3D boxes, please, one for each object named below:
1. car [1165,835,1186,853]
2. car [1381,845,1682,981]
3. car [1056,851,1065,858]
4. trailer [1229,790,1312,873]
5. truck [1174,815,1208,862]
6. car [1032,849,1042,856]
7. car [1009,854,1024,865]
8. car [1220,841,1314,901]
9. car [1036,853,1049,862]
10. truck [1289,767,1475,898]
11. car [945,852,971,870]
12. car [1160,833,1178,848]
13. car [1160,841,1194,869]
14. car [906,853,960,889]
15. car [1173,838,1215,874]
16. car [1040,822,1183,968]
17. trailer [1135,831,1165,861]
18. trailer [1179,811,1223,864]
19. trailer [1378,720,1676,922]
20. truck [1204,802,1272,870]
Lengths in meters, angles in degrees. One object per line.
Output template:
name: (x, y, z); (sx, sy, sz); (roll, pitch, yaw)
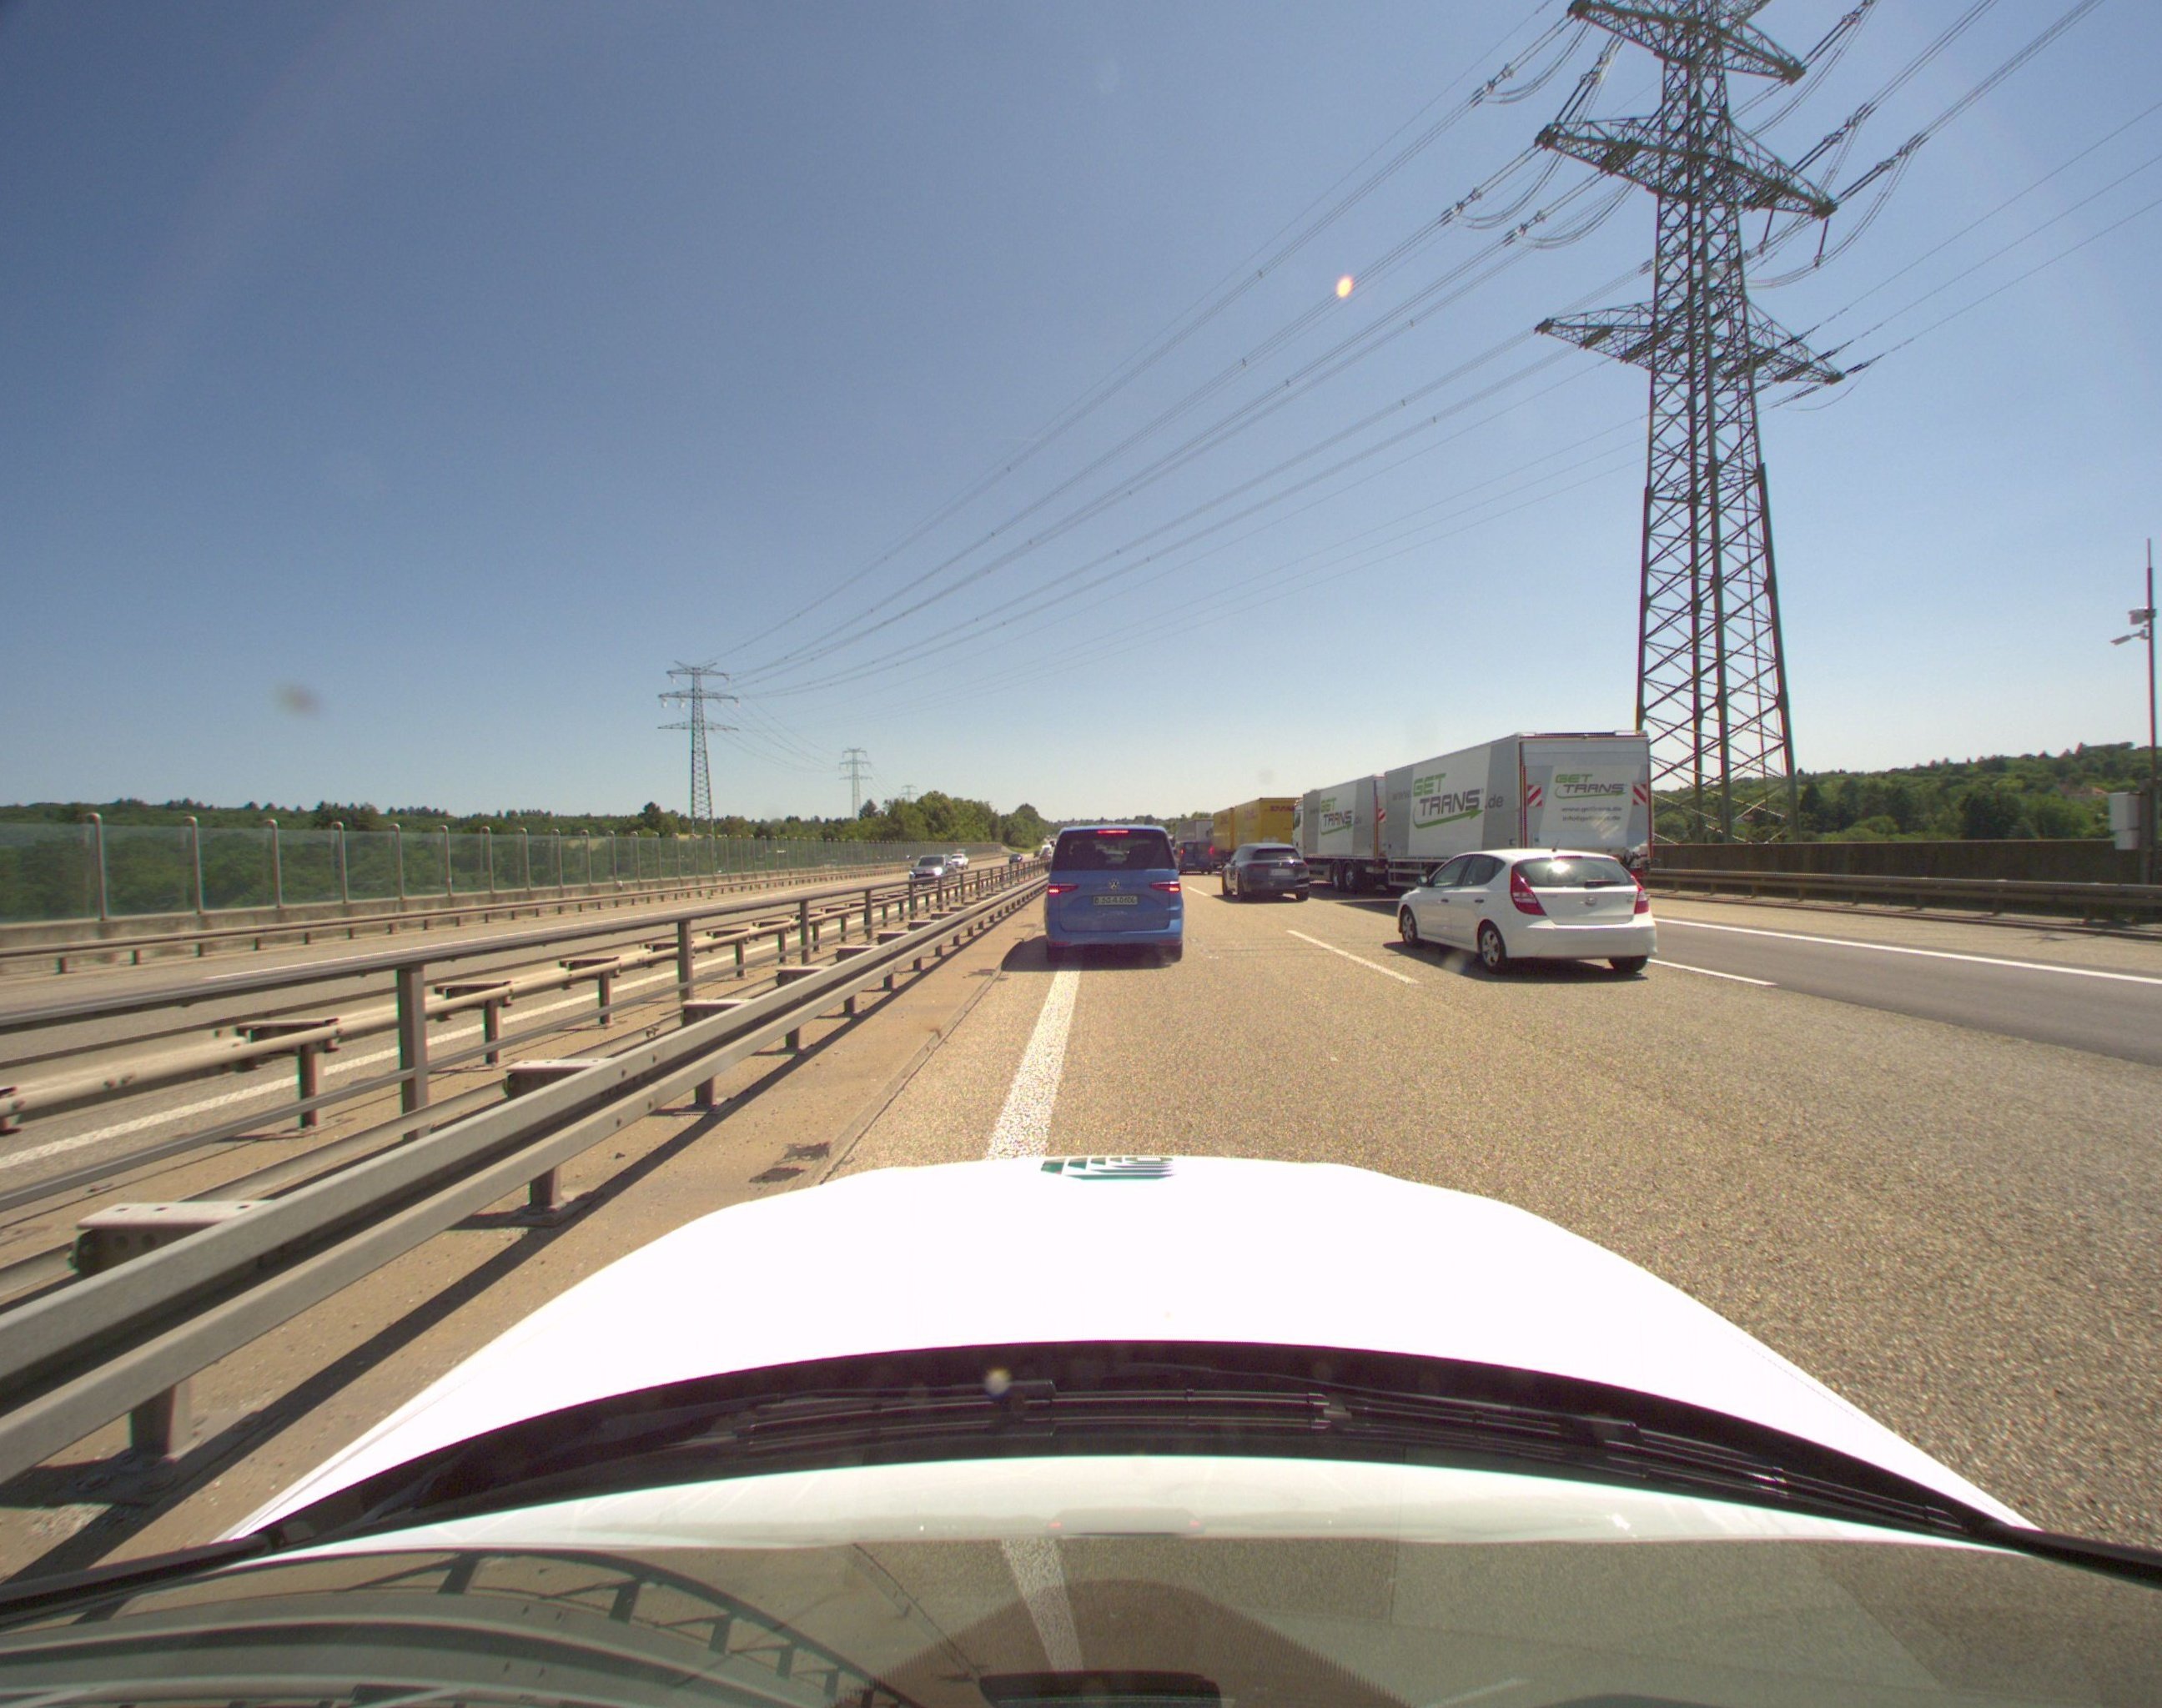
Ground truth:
car: (10.754, -1.135, 92.653); (1.986, 2.013, 4.001); (0, 0, 2)
car: (5.722, 0.633, 11.062); (1.782, 1.455, 4.294); (-1, 0, 1)
car: (-4.786, 0.141, 189.256); (1.784, 1.478, 3.990); (-2, 0, 2)
trailer: (10.545, -1.150, 46.377); (2.854, 4.239, 9.014); (0, 0, 1)
truck: (11.054, -1.507, 82.094); (2.657, 4.484, 6.852); (0, 0, 2)
car: (-9.333, -0.332, 171.611); (1.723, 1.491, 4.420); (-3, 0, 1)
car: (-9.340, 0.806, 117.950); (1.592, 1.350, 4.181); (-4, 0, 1)
car: (5.552, 0.464, 24.826); (1.955, 1.644, 4.294); (-1, 0, 1)
car: (-5.900, 0.515, 124.703); (1.592, 1.317, 4.342); (-3, 0, 1)
truck: (9.974, -0.646, 28.708); (2.647, 3.647, 11.013); (-1, 0, 1)
car: (-14.144, 0.744, 94.011); (1.986, 1.885, 5.257); (-3, 0, 1)
car: (11.853, -1.805, 110.291); (1.986, 2.013, 4.463); (-2, 0, 2)
car: (6.653, 0.069, 56.848); (1.986, 1.816, 4.002); (-1, 0, 1)
car: (-7.583, 0.847, 42.121); (1.799, 1.627, 4.479); (-3, 0, 1)
car: (6.529, 0.092, 47.507); (1.955, 1.993, 4.294); (-1, 0, 1)
car: (0.449, 0.518, 12.482); (1.813, 1.857, 4.076); (0, 0, 2)
trailer: (7.278, -0.777, 87.088); (2.560, 2.990, 10.667); (0, 0, 2)
trailer: (10.882, -1.451, 74.835); (2.627, 4.516, 11.305); (0, 0, 1)
trailer: (9.782, -0.637, 19.192); (2.688, 3.700, 8.016); (-1, 0, 1)
truck: (10.636, -1.131, 56.459); (2.826, 4.242, 11.013); (-1, 0, 1)
